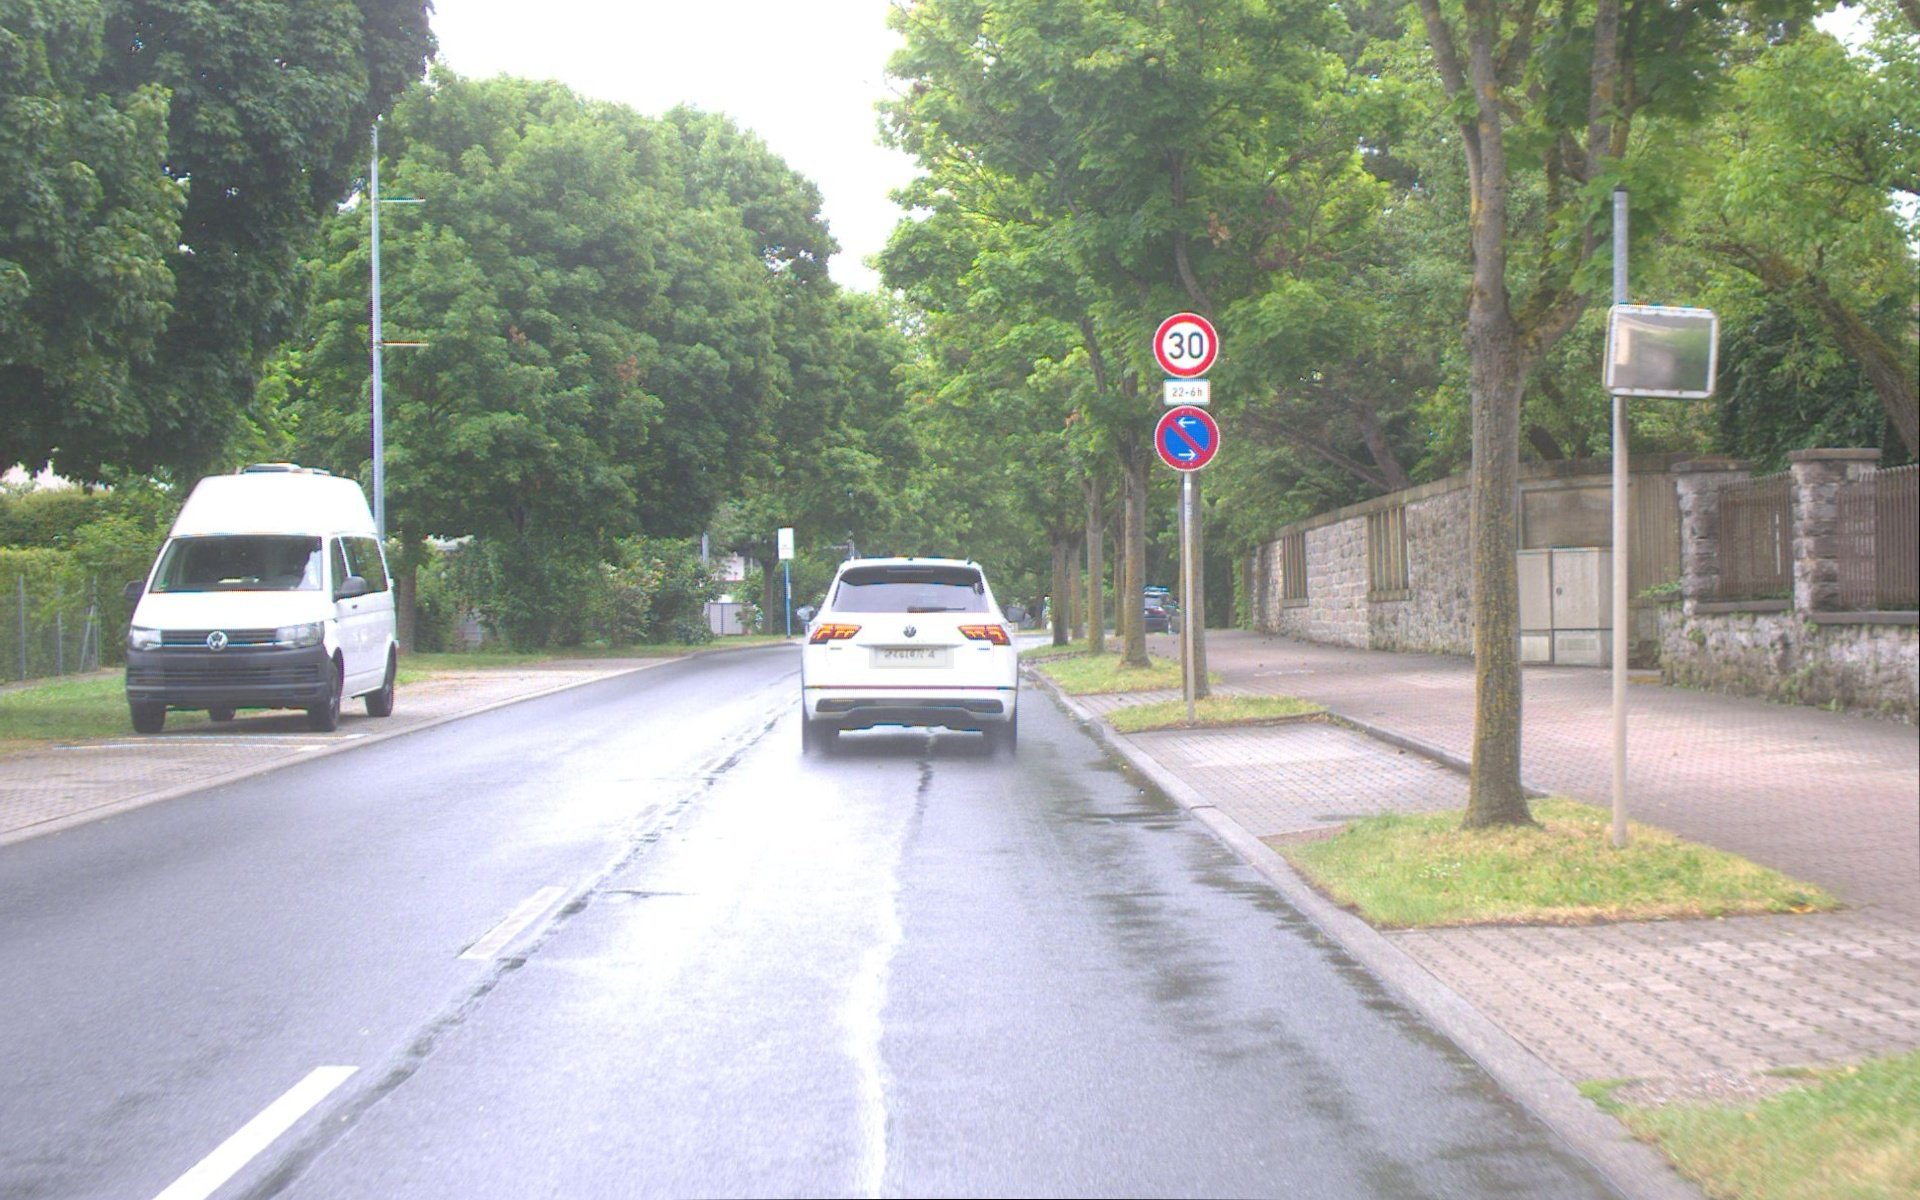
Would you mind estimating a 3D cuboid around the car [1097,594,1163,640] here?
[{"bbox_3d":[5.925,0.604,119.726,1.841,1.482,3.998,-2,-1,9],"label":"car"}]

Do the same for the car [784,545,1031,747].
[{"bbox_3d":[-0.452,0.355,30.023,1.997,1.626,4.000,1,1,-1],"label":"car"}]

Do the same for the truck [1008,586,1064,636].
[{"bbox_3d":[4.136,0.617,186.325,2.285,2.588,5.872,-1,-1,8],"label":"truck"}]

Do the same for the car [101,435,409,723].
[{"bbox_3d":[-6.751,-0.213,33.493,1.993,2.552,5.233,-1,1,-1],"label":"car"}]
